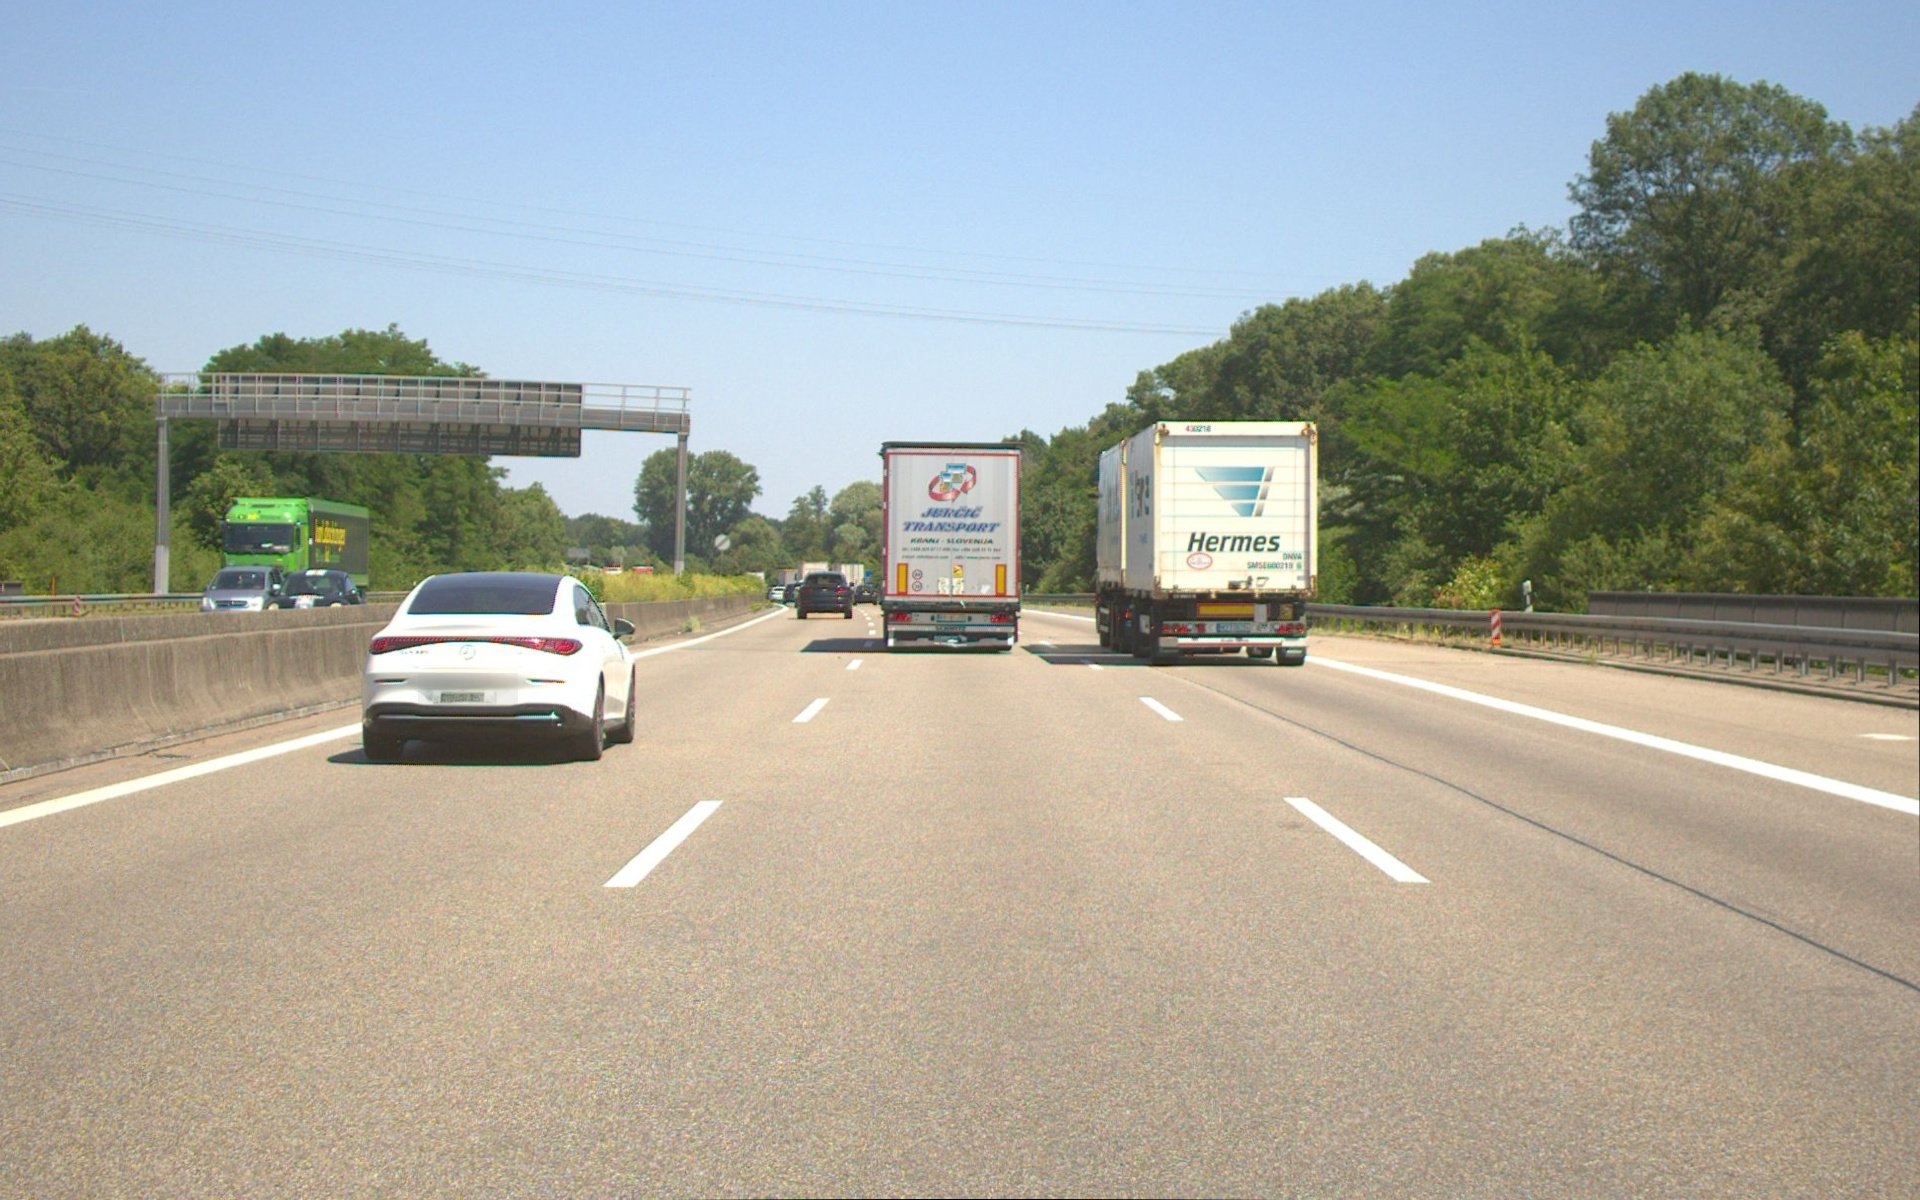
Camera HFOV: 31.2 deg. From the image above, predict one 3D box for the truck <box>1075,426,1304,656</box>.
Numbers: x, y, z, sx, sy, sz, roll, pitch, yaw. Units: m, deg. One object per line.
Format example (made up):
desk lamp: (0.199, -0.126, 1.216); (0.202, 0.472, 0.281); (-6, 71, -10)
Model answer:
truck: (4.245, -1.208, 66.271); (3.325, 4.039, 10.955); (1, 2, -2)

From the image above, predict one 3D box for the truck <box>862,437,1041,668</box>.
truck: (-0.220, -0.921, 66.946); (3.229, 4.188, 8.466); (1, 1, -1)

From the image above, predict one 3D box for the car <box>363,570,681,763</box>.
car: (-3.548, 0.485, 28.746); (1.767, 1.443, 5.108); (1, 1, 3)

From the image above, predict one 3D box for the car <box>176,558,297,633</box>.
car: (-17.046, -0.116, 81.182); (1.999, 1.706, 4.540); (0, 1, -1)

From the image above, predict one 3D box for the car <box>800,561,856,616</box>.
car: (-4.802, -0.443, 125.635); (1.993, 1.867, 4.001); (1, 2, -2)

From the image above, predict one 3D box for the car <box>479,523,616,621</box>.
car: (-8.849, -0.627, 74.100); (2.292, 2.007, 4.711); (1, 1, 1)

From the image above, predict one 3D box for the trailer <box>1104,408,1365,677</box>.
trailer: (4.447, -1.024, 57.760); (3.367, 4.128, 9.093); (1, 2, -2)

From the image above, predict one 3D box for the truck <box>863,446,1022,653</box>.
truck: (-0.371, -1.047, 72.982); (3.218, 4.191, 6.551); (0, 0, 0)

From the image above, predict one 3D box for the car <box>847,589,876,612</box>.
car: (-7.040, 0.020, 245.642); (1.993, 1.590, 4.000); (0, 0, -2)

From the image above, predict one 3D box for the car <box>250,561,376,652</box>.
car: (-13.682, 0.114, 72.849); (1.993, 1.842, 4.000); (1, 0, -1)

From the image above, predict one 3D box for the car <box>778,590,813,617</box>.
car: (-9.807, 0.217, 205.082); (1.993, 1.590, 4.000); (0, 0, -2)

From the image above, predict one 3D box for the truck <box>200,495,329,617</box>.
truck: (-23.176, -1.463, 114.829); (2.922, 3.927, 6.498); (0, 1, 1)
